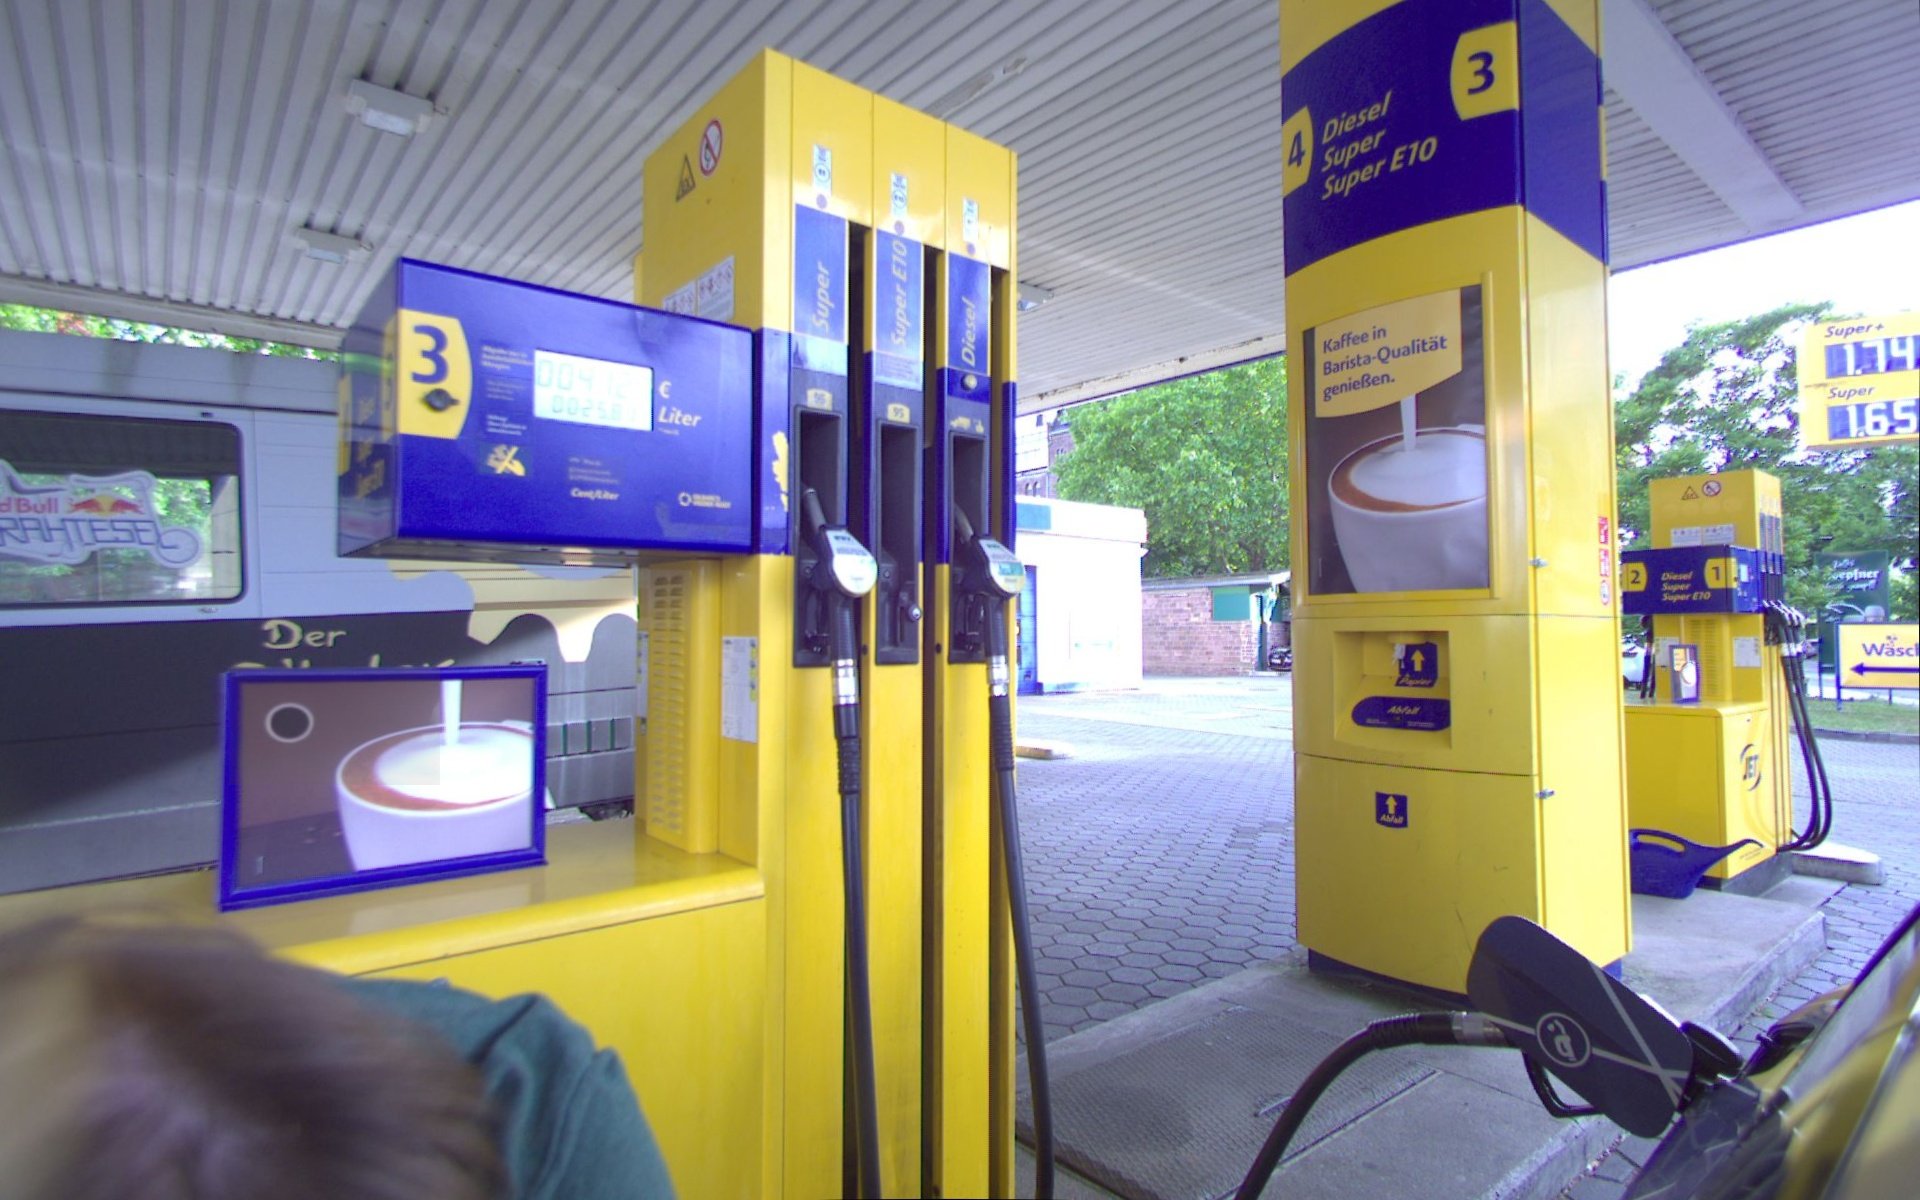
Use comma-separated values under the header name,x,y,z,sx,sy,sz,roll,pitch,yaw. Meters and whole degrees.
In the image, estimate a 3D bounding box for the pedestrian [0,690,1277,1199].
name,x,y,z,sx,sy,sz,roll,pitch,yaw
pedestrian,-0.338,0.748,0.547,0.662,1.298,0.751,0,0,-41

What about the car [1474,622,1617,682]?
name,x,y,z,sx,sy,sz,roll,pitch,yaw
car,17.842,1.591,30.802,4.303,1.622,1.776,4,-4,-28

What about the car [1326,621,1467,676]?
name,x,y,z,sx,sy,sz,roll,pitch,yaw
car,13.883,1.532,32.138,4.303,1.622,1.777,2,-1,-28

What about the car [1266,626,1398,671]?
name,x,y,z,sx,sy,sz,roll,pitch,yaw
car,12.686,1.655,34.429,4.303,1.393,1.777,2,-1,-28

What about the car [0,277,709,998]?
name,x,y,z,sx,sy,sz,roll,pitch,yaw
car,-4.113,0.159,4.895,5.197,2.726,2.258,1,-2,-39

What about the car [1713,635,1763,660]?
name,x,y,z,sx,sy,sz,roll,pitch,yaw
car,46.928,2.823,61.088,1.673,1.452,3.396,-2,-3,26

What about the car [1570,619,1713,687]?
name,x,y,z,sx,sy,sz,roll,pitch,yaw
car,18.352,1.448,27.204,4.308,1.622,1.774,4,-4,-35
